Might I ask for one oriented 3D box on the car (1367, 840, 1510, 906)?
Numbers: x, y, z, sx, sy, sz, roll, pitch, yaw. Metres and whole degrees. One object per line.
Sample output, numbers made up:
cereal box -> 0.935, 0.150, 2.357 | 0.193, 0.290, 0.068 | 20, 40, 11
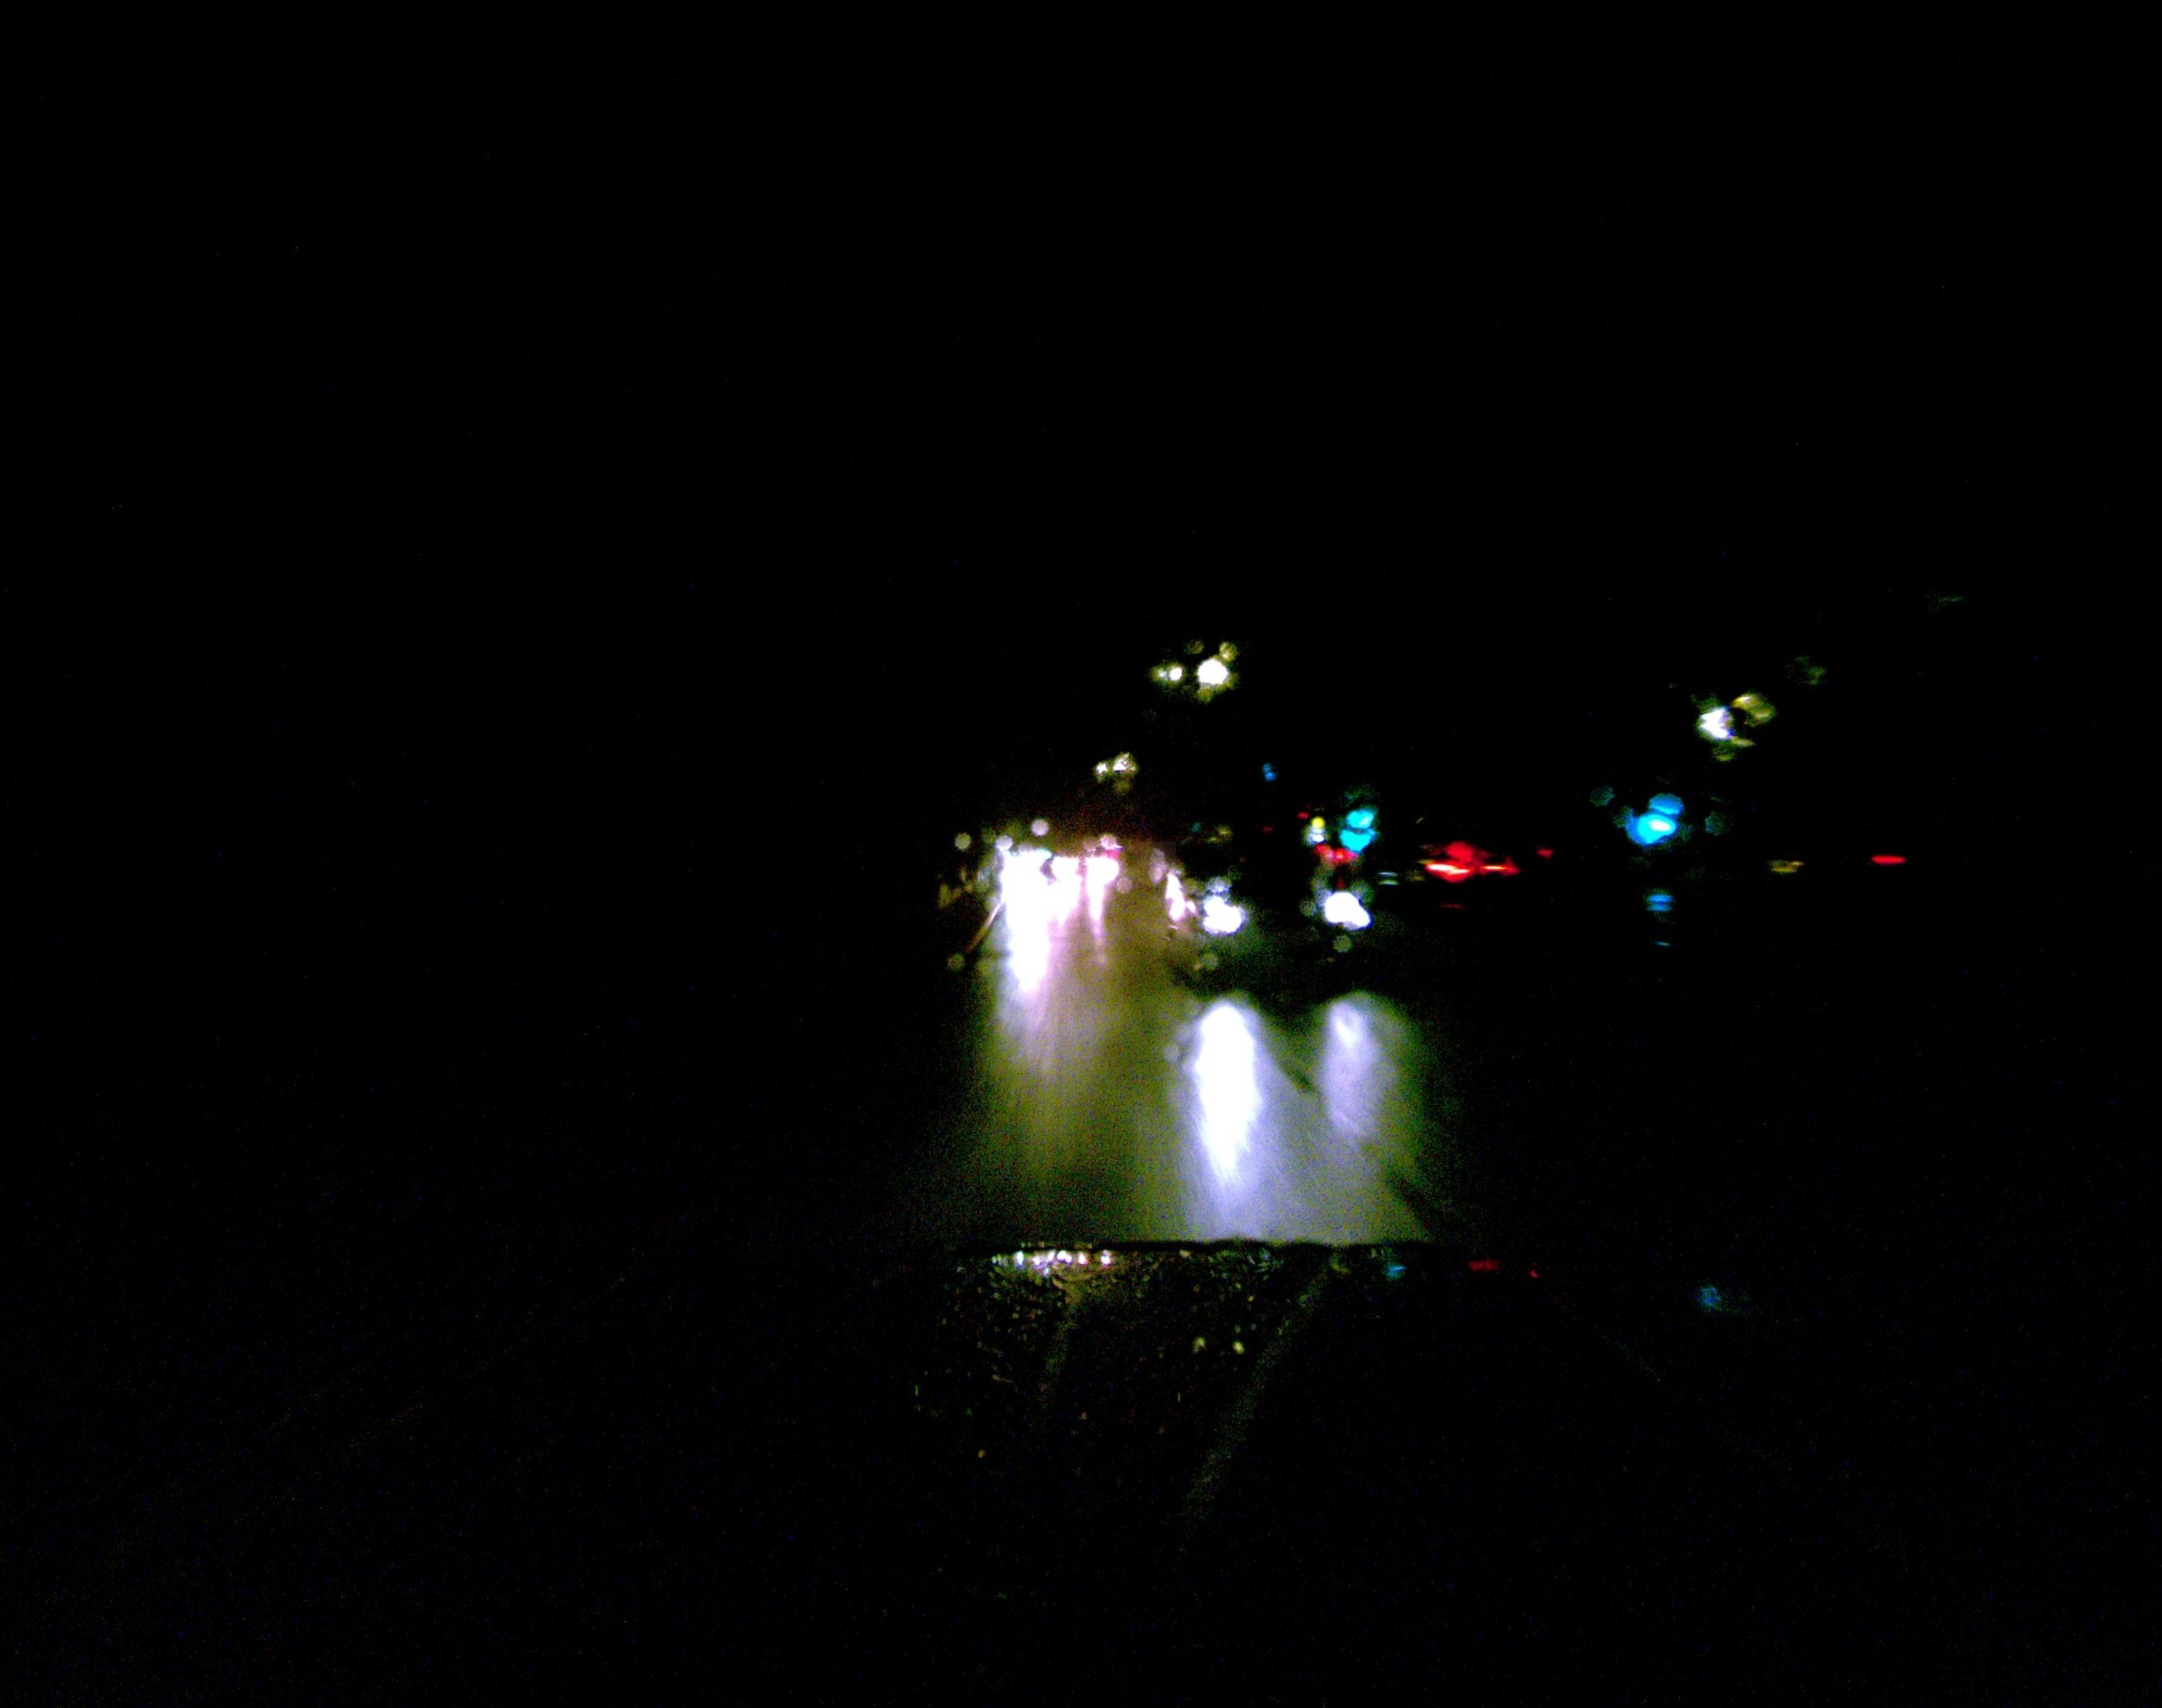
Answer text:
car -> 9.602, 0.426, 20.877 | 1.712, 1.525, 4.598 | -1, 2, -1

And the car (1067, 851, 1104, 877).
car -> 0.229, 0.612, 48.483 | 1.999, 1.456, 3.997 | -1, 2, -4

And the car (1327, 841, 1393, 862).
car -> 21.069, -0.190, 57.412 | 4.124, 1.441, 2.185 | 1, 3, 44

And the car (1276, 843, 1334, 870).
car -> 12.288, 0.101, 42.023 | 1.722, 1.346, 4.407 | -1, 2, -3

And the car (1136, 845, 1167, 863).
car -> 6.266, -0.023, 67.779 | 1.704, 1.562, 4.707 | -1, 1, -8

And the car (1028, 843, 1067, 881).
car -> -1.785, 0.382, 39.900 | 1.878, 1.825, 4.203 | -1, 1, -3

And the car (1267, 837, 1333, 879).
car -> 9.603, 0.113, 33.644 | 1.722, 1.694, 4.141 | -1, 2, 0

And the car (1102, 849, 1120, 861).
car -> 4.094, 0.094, 103.159 | 1.797, 1.562, 4.910 | -1, 1, -5

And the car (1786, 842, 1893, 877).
car -> 41.886, 0.259, 42.086 | 4.089, 1.773, 2.004 | 1, 3, 44

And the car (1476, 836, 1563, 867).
car -> 29.248, -0.172, 50.745 | 4.910, 1.929, 2.003 | 0, 3, 33

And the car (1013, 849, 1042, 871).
car -> -4.111, 0.416, 58.133 | 2.000, 1.456, 3.996 | -1, 2, -7

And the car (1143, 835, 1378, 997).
car -> 2.128, 0.628, 10.561 | 1.914, 1.694, 4.937 | -1, 1, -2

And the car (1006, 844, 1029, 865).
car -> -6.243, 0.046, 74.183 | 2.000, 2.002, 3.997 | -1, 1, -8
